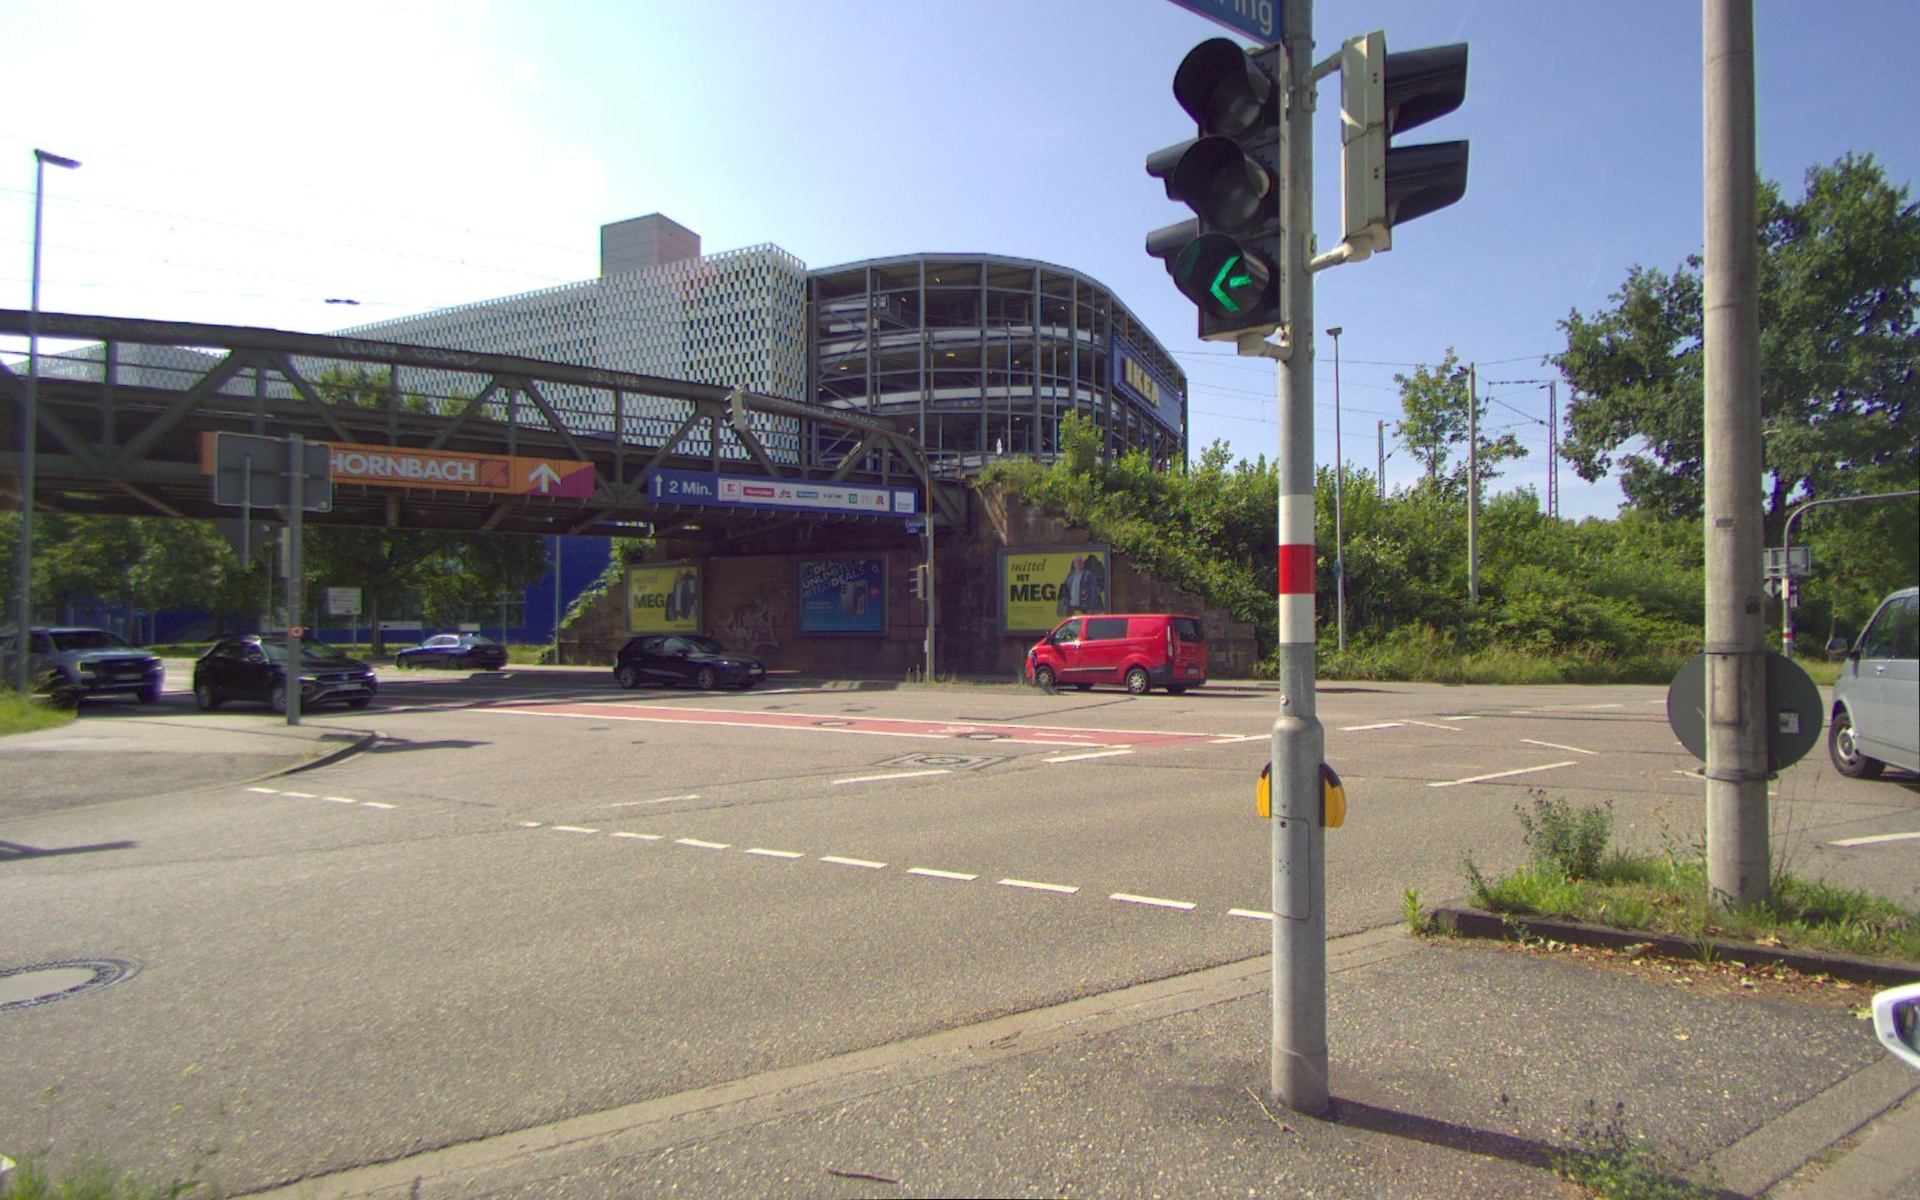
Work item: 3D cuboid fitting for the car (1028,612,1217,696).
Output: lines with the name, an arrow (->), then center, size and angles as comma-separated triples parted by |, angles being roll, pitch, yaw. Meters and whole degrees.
car -> 4.085, 1.342, 25.729 | 4.498, 1.950, 1.963 | -2, -2, 44

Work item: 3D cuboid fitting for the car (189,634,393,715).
car -> -14.183, 1.513, 21.286 | 3.869, 1.500, 1.822 | -1, 0, 25

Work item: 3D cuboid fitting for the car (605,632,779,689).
car -> -7.041, 1.557, 26.396 | 4.252, 1.413, 1.770 | -1, -2, 24

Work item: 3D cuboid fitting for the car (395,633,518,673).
car -> -18.692, 1.929, 37.288 | 4.242, 1.415, 1.791 | -1, -2, 24

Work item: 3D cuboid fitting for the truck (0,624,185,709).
truck -> -21.661, 1.550, 24.597 | 5.224, 1.844, 2.031 | -1, 0, 25

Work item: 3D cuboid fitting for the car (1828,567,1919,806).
car -> 9.070, 0.730, 8.309 | 1.913, 1.997, 5.013 | 0, -1, 30
